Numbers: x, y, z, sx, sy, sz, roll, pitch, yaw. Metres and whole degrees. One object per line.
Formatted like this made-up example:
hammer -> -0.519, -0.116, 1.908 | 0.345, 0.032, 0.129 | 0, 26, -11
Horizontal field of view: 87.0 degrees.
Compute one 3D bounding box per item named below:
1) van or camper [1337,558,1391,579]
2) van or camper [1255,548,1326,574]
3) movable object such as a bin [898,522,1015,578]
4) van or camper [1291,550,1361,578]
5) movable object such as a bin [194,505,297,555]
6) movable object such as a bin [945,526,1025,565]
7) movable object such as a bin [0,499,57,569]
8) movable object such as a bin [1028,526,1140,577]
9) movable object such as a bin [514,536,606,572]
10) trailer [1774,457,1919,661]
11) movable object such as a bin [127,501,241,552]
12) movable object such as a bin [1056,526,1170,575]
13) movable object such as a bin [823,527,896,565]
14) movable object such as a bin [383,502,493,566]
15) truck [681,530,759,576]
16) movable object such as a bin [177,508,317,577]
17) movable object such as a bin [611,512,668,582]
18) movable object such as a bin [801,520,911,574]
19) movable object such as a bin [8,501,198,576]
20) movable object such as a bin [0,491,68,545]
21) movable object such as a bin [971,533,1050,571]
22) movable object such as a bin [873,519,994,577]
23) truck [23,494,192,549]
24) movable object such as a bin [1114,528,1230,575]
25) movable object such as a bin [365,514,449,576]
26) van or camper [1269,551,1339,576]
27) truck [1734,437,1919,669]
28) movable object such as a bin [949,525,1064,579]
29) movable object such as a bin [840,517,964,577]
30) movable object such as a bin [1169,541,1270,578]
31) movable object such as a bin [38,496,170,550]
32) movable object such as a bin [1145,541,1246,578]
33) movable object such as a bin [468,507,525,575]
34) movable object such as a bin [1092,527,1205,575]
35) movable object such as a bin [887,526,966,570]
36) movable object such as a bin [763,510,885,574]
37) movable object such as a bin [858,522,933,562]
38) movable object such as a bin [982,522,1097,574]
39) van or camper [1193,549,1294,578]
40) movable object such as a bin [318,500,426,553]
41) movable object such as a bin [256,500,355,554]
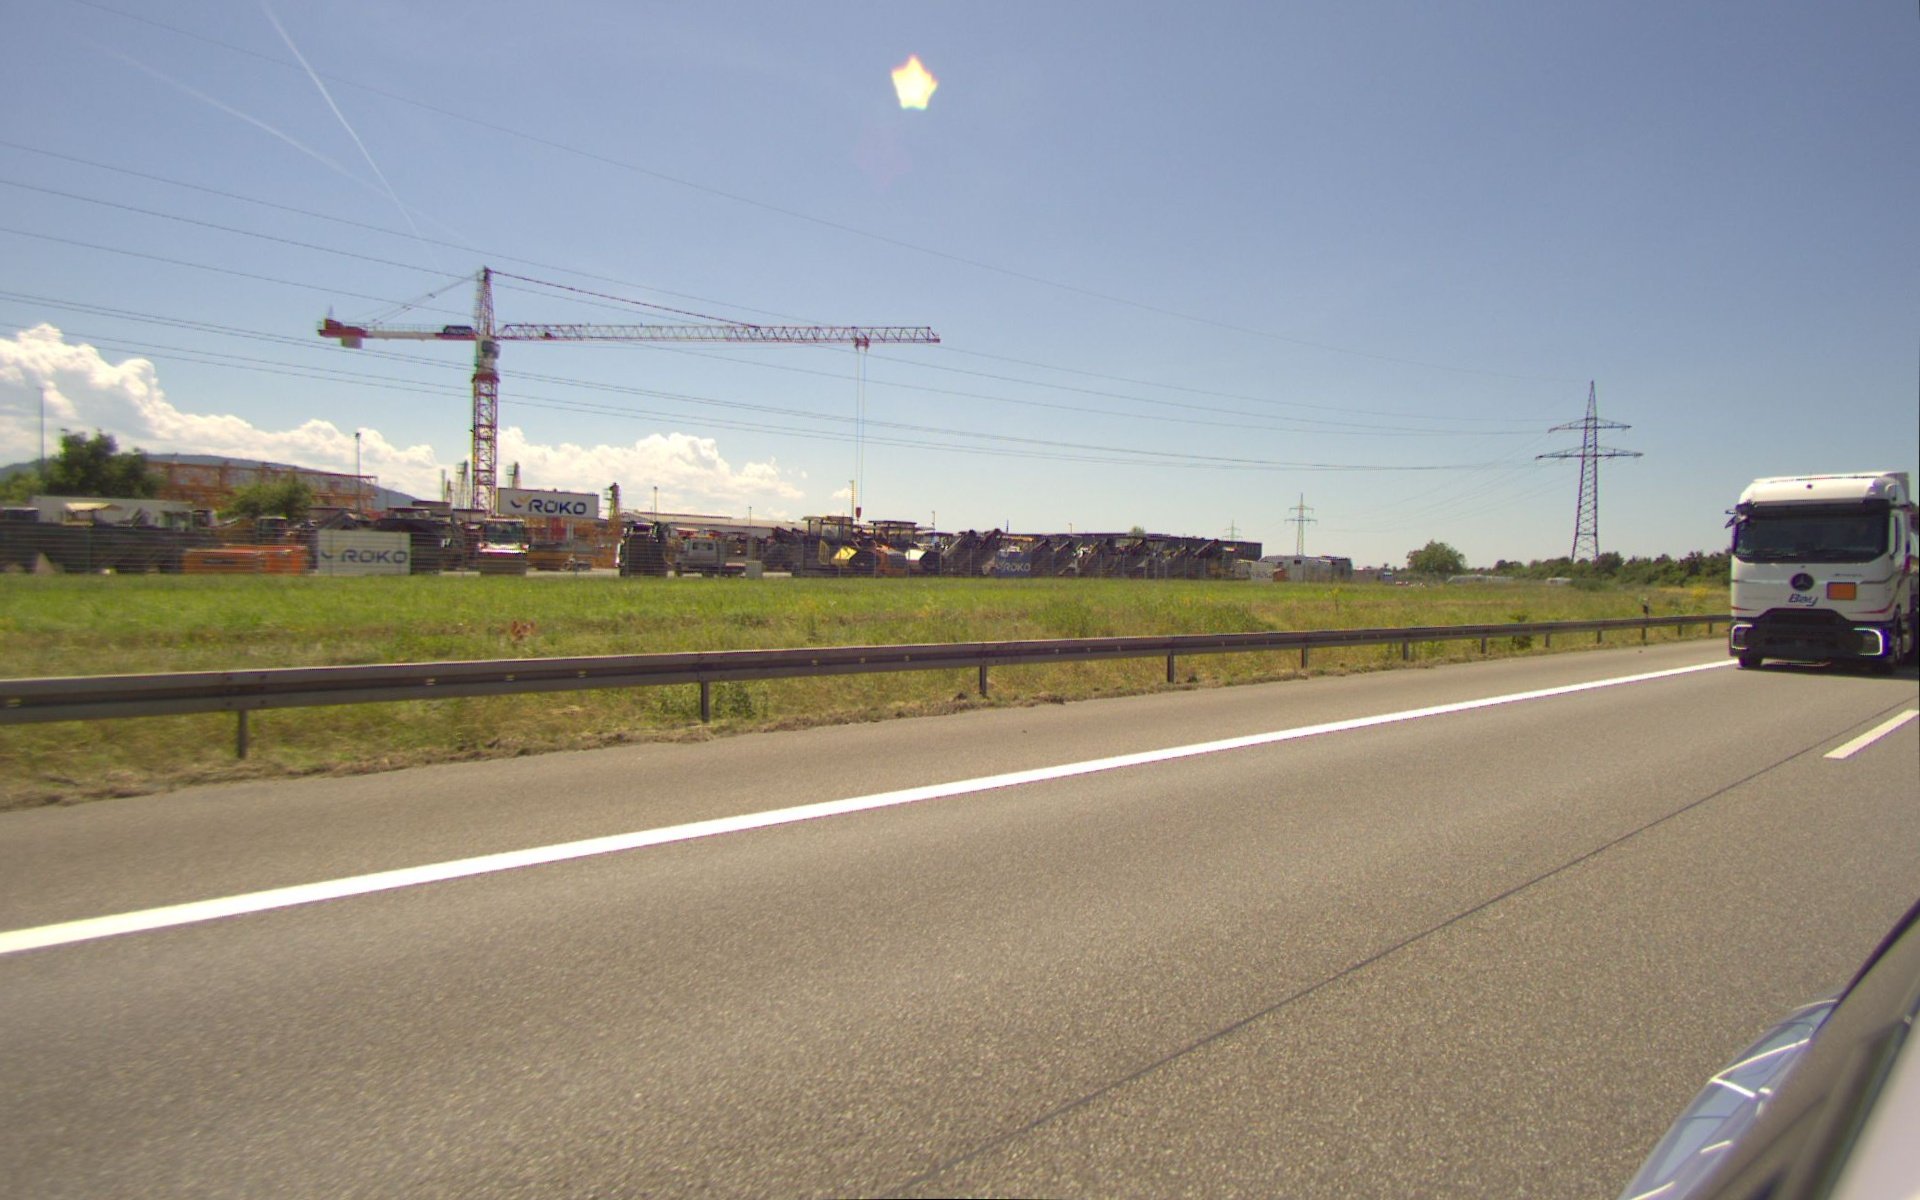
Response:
van or camper -> 56.159, -4.396, 140.768 | 2.380, 2.801, 6.457 | 0, 2, -42
van or camper -> 32.137, -3.812, 98.634 | 2.555, 2.431, 6.134 | 0, 2, -38
movable object such as a bin -> -0.416, -3.672, 72.318 | 2.631, 3.734, 9.740 | 0, 3, -40
van or camper -> 37.153, -3.688, 102.966 | 2.394, 2.584, 6.360 | 0, 2, -38
movable object such as a bin -> -42.813, -4.145, 60.943 | 2.550, 2.721, 8.461 | 1, 3, -17
movable object such as a bin -> 2.330, -5.400, 99.260 | 2.867, 3.615, 9.076 | 0, 3, -35
movable object such as a bin -> -38.611, -2.575, 38.670 | 3.110, 2.721, 7.876 | 1, 3, -17
movable object such as a bin -> 9.636, -3.898, 79.869 | 2.585, 3.734, 9.746 | 0, 3, -38
movable object such as a bin -> -30.234, -3.492, 76.753 | 6.340, 2.493, 2.930 | 1, 2, -19
trailer -> 22.867, -0.843, 24.910 | 10.909, 4.126, 2.584 | 0, 0, -41
movable object such as a bin -> -45.935, -4.322, 60.209 | 2.550, 2.721, 8.461 | 1, 3, -17
movable object such as a bin -> 12.320, -4.097, 82.452 | 2.922, 3.734, 9.746 | 0, 3, -38
movable object such as a bin -> -9.029, -4.824, 90.412 | 2.867, 3.187, 8.008 | 0, 3, -35
movable object such as a bin -> -33.648, -4.232, 65.881 | 2.911, 3.654, 11.752 | 1, 3, -10
truck -> -14.065, -2.766, 59.102 | 2.605, 2.493, 5.567 | 0, 3, -34
movable object such as a bin -> -31.280, -2.550, 44.769 | 3.110, 2.721, 6.922 | 1, 3, -18
movable object such as a bin -> -17.697, -2.964, 56.338 | 2.468, 3.456, 10.314 | 1, 3, -15
movable object such as a bin -> -7.054, -3.569, 66.957 | 2.488, 3.348, 9.126 | 0, 3, -40
movable object such as a bin -> -34.879, -2.513, 41.652 | 3.110, 2.721, 7.876 | 1, 3, -17
movable object such as a bin -> -50.284, -4.274, 52.524 | 2.682, 2.721, 8.461 | 1, 3, -17
movable object such as a bin -> 4.923, -4.848, 101.115 | 2.867, 3.615, 9.076 | 0, 3, -35
movable object such as a bin -> -1.985, -3.640, 69.514 | 2.351, 3.734, 10.278 | 0, 3, -40
truck -> -54.396, -4.982, 64.855 | 7.735, 3.188, 2.930 | 1, 2, -19
movable object such as a bin -> 18.133, -4.222, 87.262 | 3.358, 3.734, 9.740 | 0, 3, -40
movable object such as a bin -> -26.603, -2.682, 48.930 | 3.112, 2.721, 6.919 | 1, 3, -25
van or camper -> 34.130, -3.629, 100.520 | 2.555, 2.247, 6.134 | 0, 2, -38
truck -> 18.447, -0.837, 21.014 | 6.281, 4.124, 2.577 | 0, 0, -41
movable object such as a bin -> 3.309, -3.679, 75.856 | 2.631, 3.734, 9.740 | 0, 3, -40
movable object such as a bin -> -4.099, -3.637, 67.751 | 2.617, 3.734, 10.278 | 0, 3, -40
movable object such as a bin -> 23.642, -3.761, 92.613 | 3.155, 3.043, 8.756 | 0, 3, -38
movable object such as a bin -> -48.160, -4.282, 57.256 | 2.550, 2.721, 8.461 | 1, 3, -17
movable object such as a bin -> 20.922, -3.677, 90.398 | 2.902, 3.043, 8.753 | 0, 3, -39
movable object such as a bin -> -23.753, -3.011, 51.830 | 2.469, 3.235, 5.862 | 1, 3, -25
movable object such as a bin -> 15.634, -4.156, 84.867 | 2.923, 3.734, 9.744 | 0, 3, -39
movable object such as a bin -> -3.285, -4.950, 95.239 | 3.076, 3.883, 8.778 | 0, 3, -35
movable object such as a bin -> -8.940, -3.778, 65.015 | 2.617, 3.734, 10.278 | 0, 3, -40
movable object such as a bin -> -6.016, -5.373, 92.995 | 2.867, 3.466, 8.216 | 0, 3, -35
movable object such as a bin -> 5.964, -4.078, 77.791 | 2.631, 3.734, 9.740 | 0, 3, -40
van or camper -> 27.294, -3.606, 97.770 | 3.103, 2.552, 9.337 | 0, 2, -38
movable object such as a bin -> -37.022, -4.598, 64.276 | 2.944, 2.981, 11.254 | 1, 3, -14
movable object such as a bin -> -39.860, -4.395, 61.982 | 2.847, 2.981, 8.461 | 1, 3, -17
